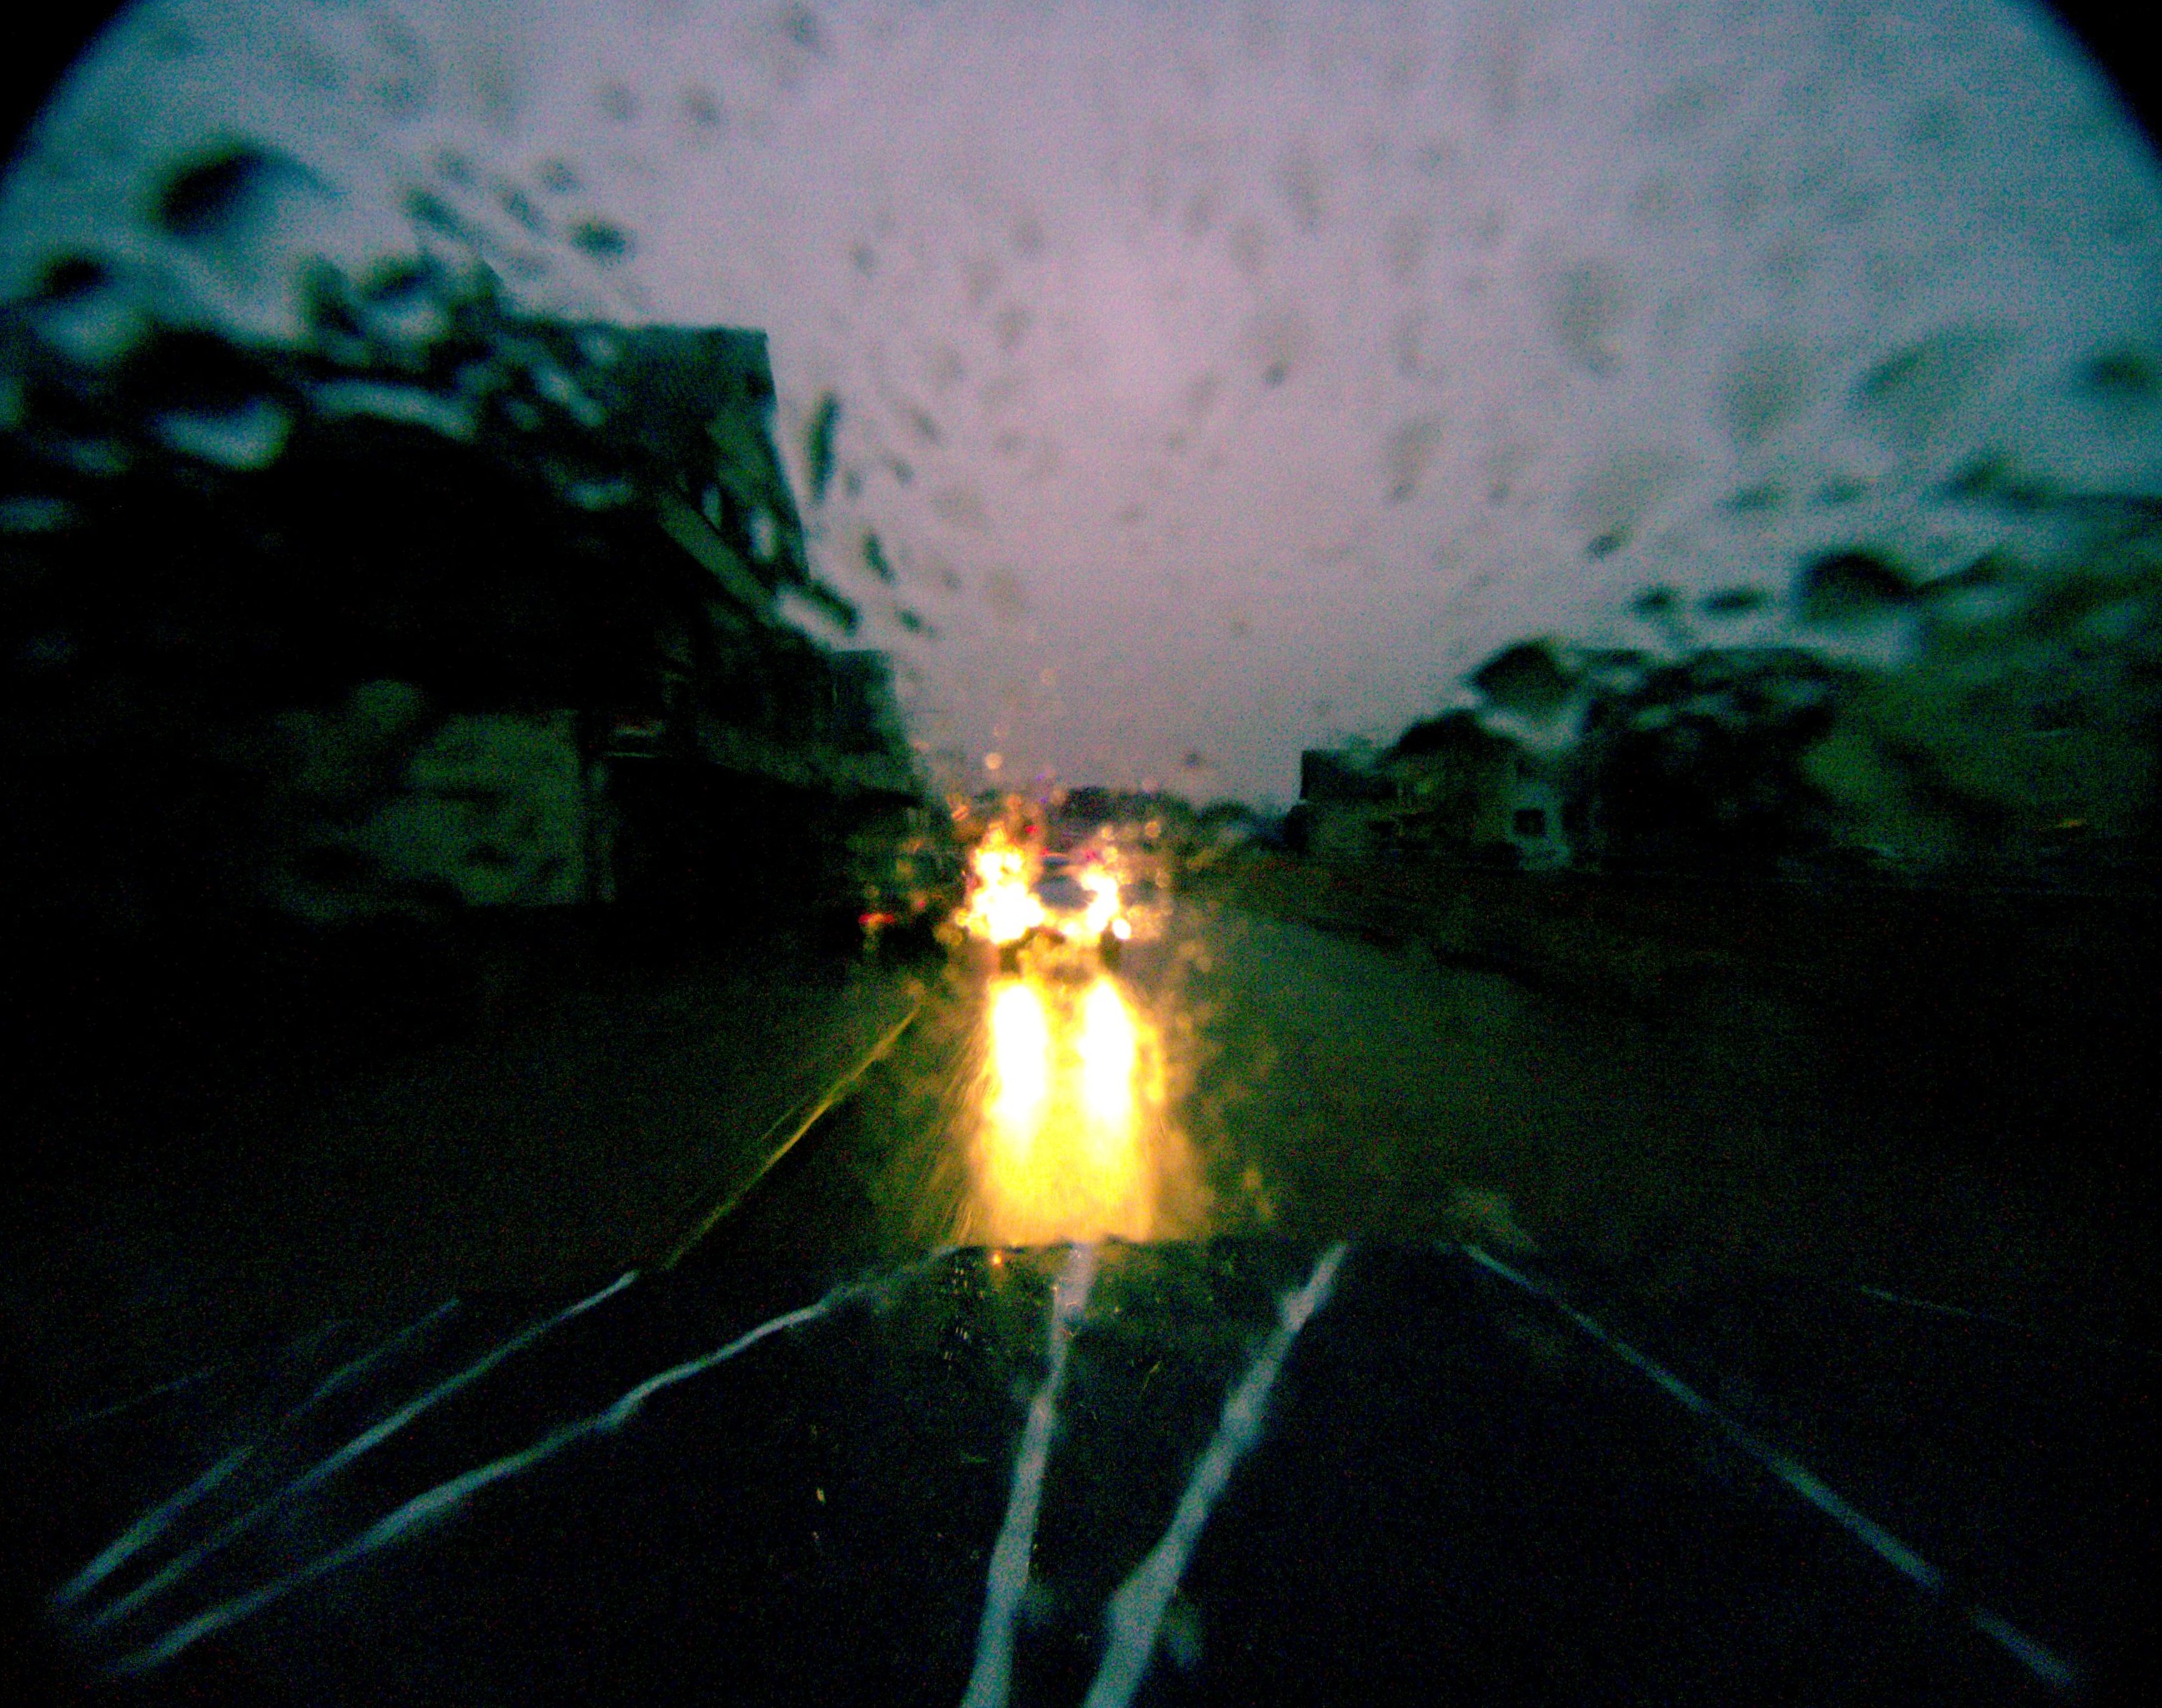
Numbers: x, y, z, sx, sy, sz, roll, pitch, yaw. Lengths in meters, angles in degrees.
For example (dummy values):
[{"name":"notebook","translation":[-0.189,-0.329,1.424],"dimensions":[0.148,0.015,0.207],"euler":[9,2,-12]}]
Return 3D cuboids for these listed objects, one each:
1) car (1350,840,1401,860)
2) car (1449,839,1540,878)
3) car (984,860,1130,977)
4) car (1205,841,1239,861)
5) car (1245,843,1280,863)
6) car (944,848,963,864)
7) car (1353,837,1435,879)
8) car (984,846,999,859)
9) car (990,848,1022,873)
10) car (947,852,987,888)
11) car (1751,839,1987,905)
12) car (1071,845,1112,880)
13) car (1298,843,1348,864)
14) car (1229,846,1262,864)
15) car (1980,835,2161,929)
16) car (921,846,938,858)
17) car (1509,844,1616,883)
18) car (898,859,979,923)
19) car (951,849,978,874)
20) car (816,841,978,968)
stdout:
[{"name":"car","translation":[26.532,-0.356,68.553],"dimensions":[4.034,1.515,1.814],"euler":[-3,1,12]},{"name":"car","translation":[19.659,0.184,36.306],"dimensions":[1.864,1.672,3.997],"euler":[-3,1,-5]},{"name":"car","translation":[-0.212,0.940,12.793],"dimensions":[1.998,1.526,4.001],"euler":[-3,0,4]},{"name":"car","translation":[15.026,-0.325,81.143],"dimensions":[2.000,1.894,4.353],"euler":[-4,1,-11]},{"name":"car","translation":[16.388,-0.099,68.758],"dimensions":[1.822,1.615,3.982],"euler":[-4,1,-5]},{"name":"car","translation":[-13.405,0.182,79.538],"dimensions":[1.813,1.555,4.300],"euler":[-1,1,-11]},{"name":"car","translation":[14.372,0.146,35.123],"dimensions":[1.805,1.793,3.857],"euler":[-1,1,-8]},{"name":"car","translation":[-11.191,-0.184,95.091],"dimensions":[1.737,1.527,3.778],"euler":[-3,1,-7]},{"name":"car","translation":[-5.330,0.420,53.429],"dimensions":[1.908,1.630,4.562],"euler":[1,0,-10]},{"name":"car","translation":[-5.191,0.685,34.722],"dimensions":[1.657,1.446,4.234],"euler":[1,0,-8]},{"name":"car","translation":[21.086,0.435,20.637],"dimensions":[1.879,1.589,4.223],"euler":[1,0,-3]},{"name":"car","translation":[0.465,0.394,37.997],"dimensions":[1.667,1.626,3.549],"euler":[-2,1,-5]},{"name":"car","translation":[17.491,-0.062,55.087],"dimensions":[1.882,1.434,4.646],"euler":[-2,1,-4]},{"name":"car","translation":[15.886,0.113,73.624],"dimensions":[1.902,1.509,3.997],"euler":[-4,2,-5]},{"name":"car","translation":[21.288,0.539,14.891],"dimensions":[1.879,1.768,4.500],"euler":[1,0,-3]},{"name":"car","translation":[-22.652,-0.348,113.628],"dimensions":[1.919,1.780,4.559],"euler":[-1,0,-18]},{"name":"car","translation":[20.275,0.338,32.210],"dimensions":[1.774,1.515,4.029],"euler":[-1,1,-5]},{"name":"car","translation":[-3.440,0.854,18.723],"dimensions":[1.650,1.407,2.726],"euler":[1,0,-5]},{"name":"car","translation":[-8.031,0.480,52.024],"dimensions":[1.670,1.567,4.492],"euler":[-1,1,-10]},{"name":"car","translation":[-2.914,0.718,12.935],"dimensions":[1.774,1.771,3.999],"euler":[2,0,-1]}]
